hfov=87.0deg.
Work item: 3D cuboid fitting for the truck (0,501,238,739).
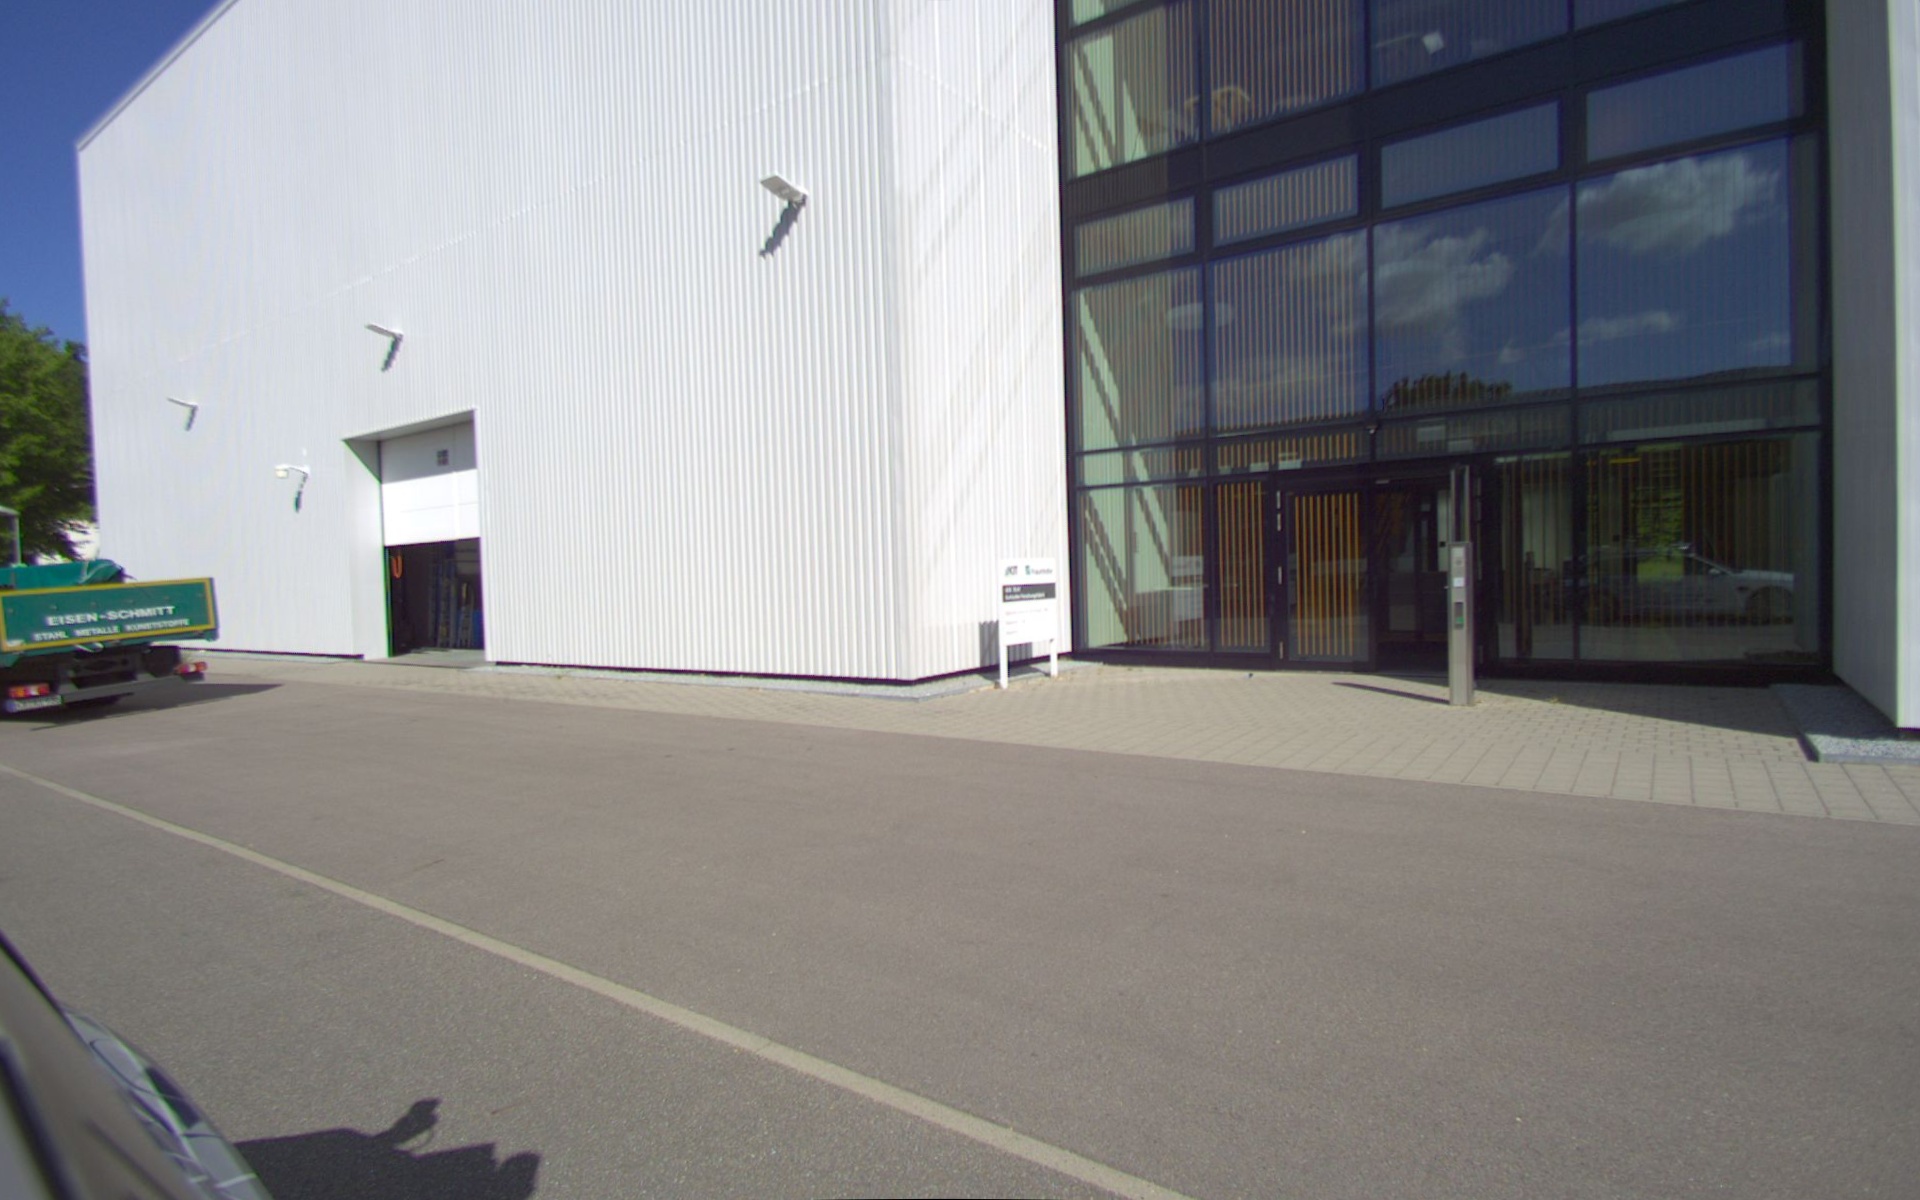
[{"bbox_3d":[-14.962,0.286,14.697,9.634,2.736,2.570,-2,3,24],"label":"truck"}]
